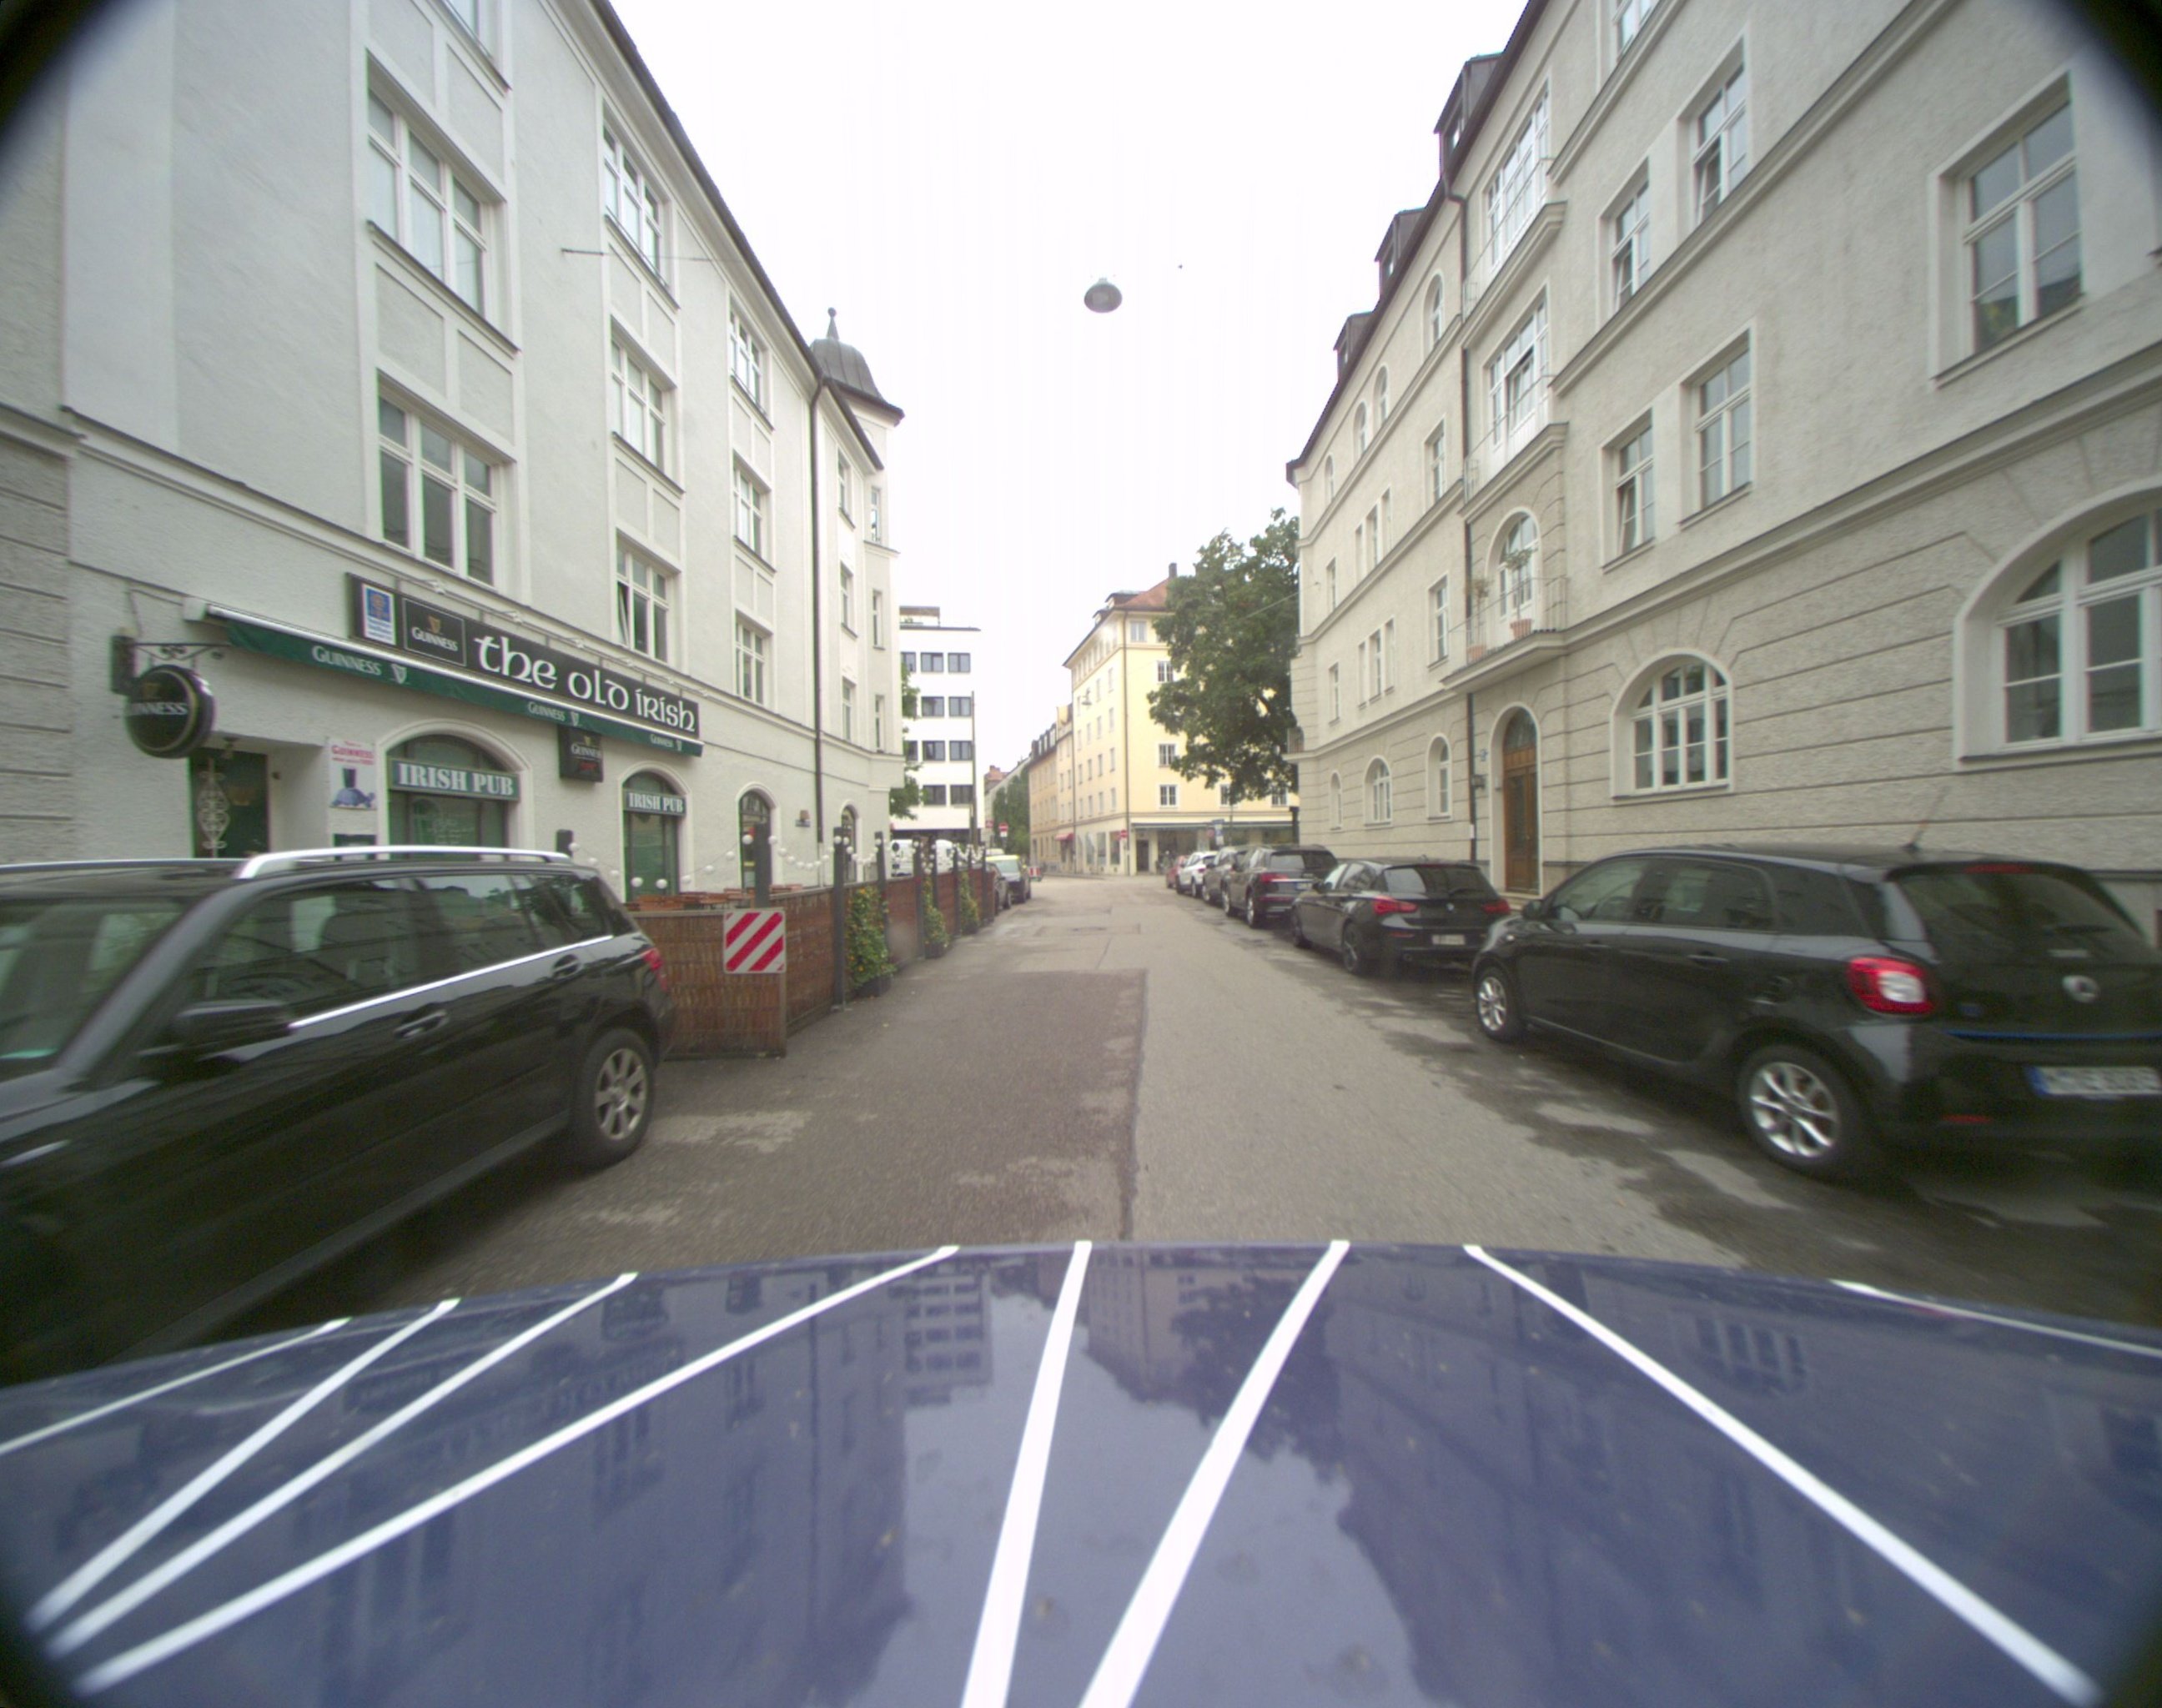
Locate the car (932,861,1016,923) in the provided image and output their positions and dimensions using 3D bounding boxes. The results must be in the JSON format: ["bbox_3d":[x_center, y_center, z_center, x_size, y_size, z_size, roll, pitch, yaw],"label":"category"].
[{"bbox_3d":[-2.841,0.975,20.780,1.670,1.392,3.492,-4,0,1],"label":"car"}]

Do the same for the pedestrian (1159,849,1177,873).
[{"bbox_3d":[5.938,0.459,51.875,0.920,1.601,0.777,-1,1,30],"label":"pedestrian"}]

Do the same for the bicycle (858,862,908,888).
[{"bbox_3d":[-8.893,0.938,34.202,2.009,1.124,0.687,-1,1,5],"label":"bicycle"}]

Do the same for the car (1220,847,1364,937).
[{"bbox_3d":[4.208,0.680,15.904,1.880,1.590,4.434,-1,0,2],"label":"car"}]

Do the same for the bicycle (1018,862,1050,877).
[{"bbox_3d":[-3.157,1.024,50.533,1.995,0.958,0.972,-1,1,-12],"label":"bicycle"}]

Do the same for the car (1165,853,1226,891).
[{"bbox_3d":[4.565,0.684,30.976,1.685,1.385,4.478,-1,0,-2],"label":"car"}]

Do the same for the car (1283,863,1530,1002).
[{"bbox_3d":[4.013,0.861,10.160,1.658,1.399,4.092,0,1,2],"label":"car"}]

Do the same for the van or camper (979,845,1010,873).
[{"bbox_3d":[-8.083,0.436,70.599,1.968,2.494,5.716,-2,0,-15],"label":"van or camper"}]

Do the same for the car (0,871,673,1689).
[{"bbox_3d":[-3.280,1.003,2.314,1.805,1.665,4.188,-4,1,-2],"label":"car"}]

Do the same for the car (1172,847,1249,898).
[{"bbox_3d":[4.346,0.578,26.074,1.699,1.559,3.949,-1,1,-4],"label":"car"}]

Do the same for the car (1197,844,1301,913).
[{"bbox_3d":[4.555,0.610,21.225,1.841,1.668,4.212,-1,0,-1],"label":"car"}]

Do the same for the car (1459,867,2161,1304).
[{"bbox_3d":[3.988,0.877,4.549,1.620,1.504,3.531,0,1,-1],"label":"car"}]

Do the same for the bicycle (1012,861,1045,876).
[{"bbox_3d":[-3.665,1.031,52.822,2.175,0.958,0.974,-1,1,-12],"label":"bicycle"}]

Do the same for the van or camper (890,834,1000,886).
[{"bbox_3d":[-7.538,0.379,42.634,5.870,2.697,2.304,-1,-2,-8],"label":"van or camper"}]

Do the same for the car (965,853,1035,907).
[{"bbox_3d":[-2.735,0.842,26.457,1.841,1.609,4.094,-4,0,1],"label":"car"}]
